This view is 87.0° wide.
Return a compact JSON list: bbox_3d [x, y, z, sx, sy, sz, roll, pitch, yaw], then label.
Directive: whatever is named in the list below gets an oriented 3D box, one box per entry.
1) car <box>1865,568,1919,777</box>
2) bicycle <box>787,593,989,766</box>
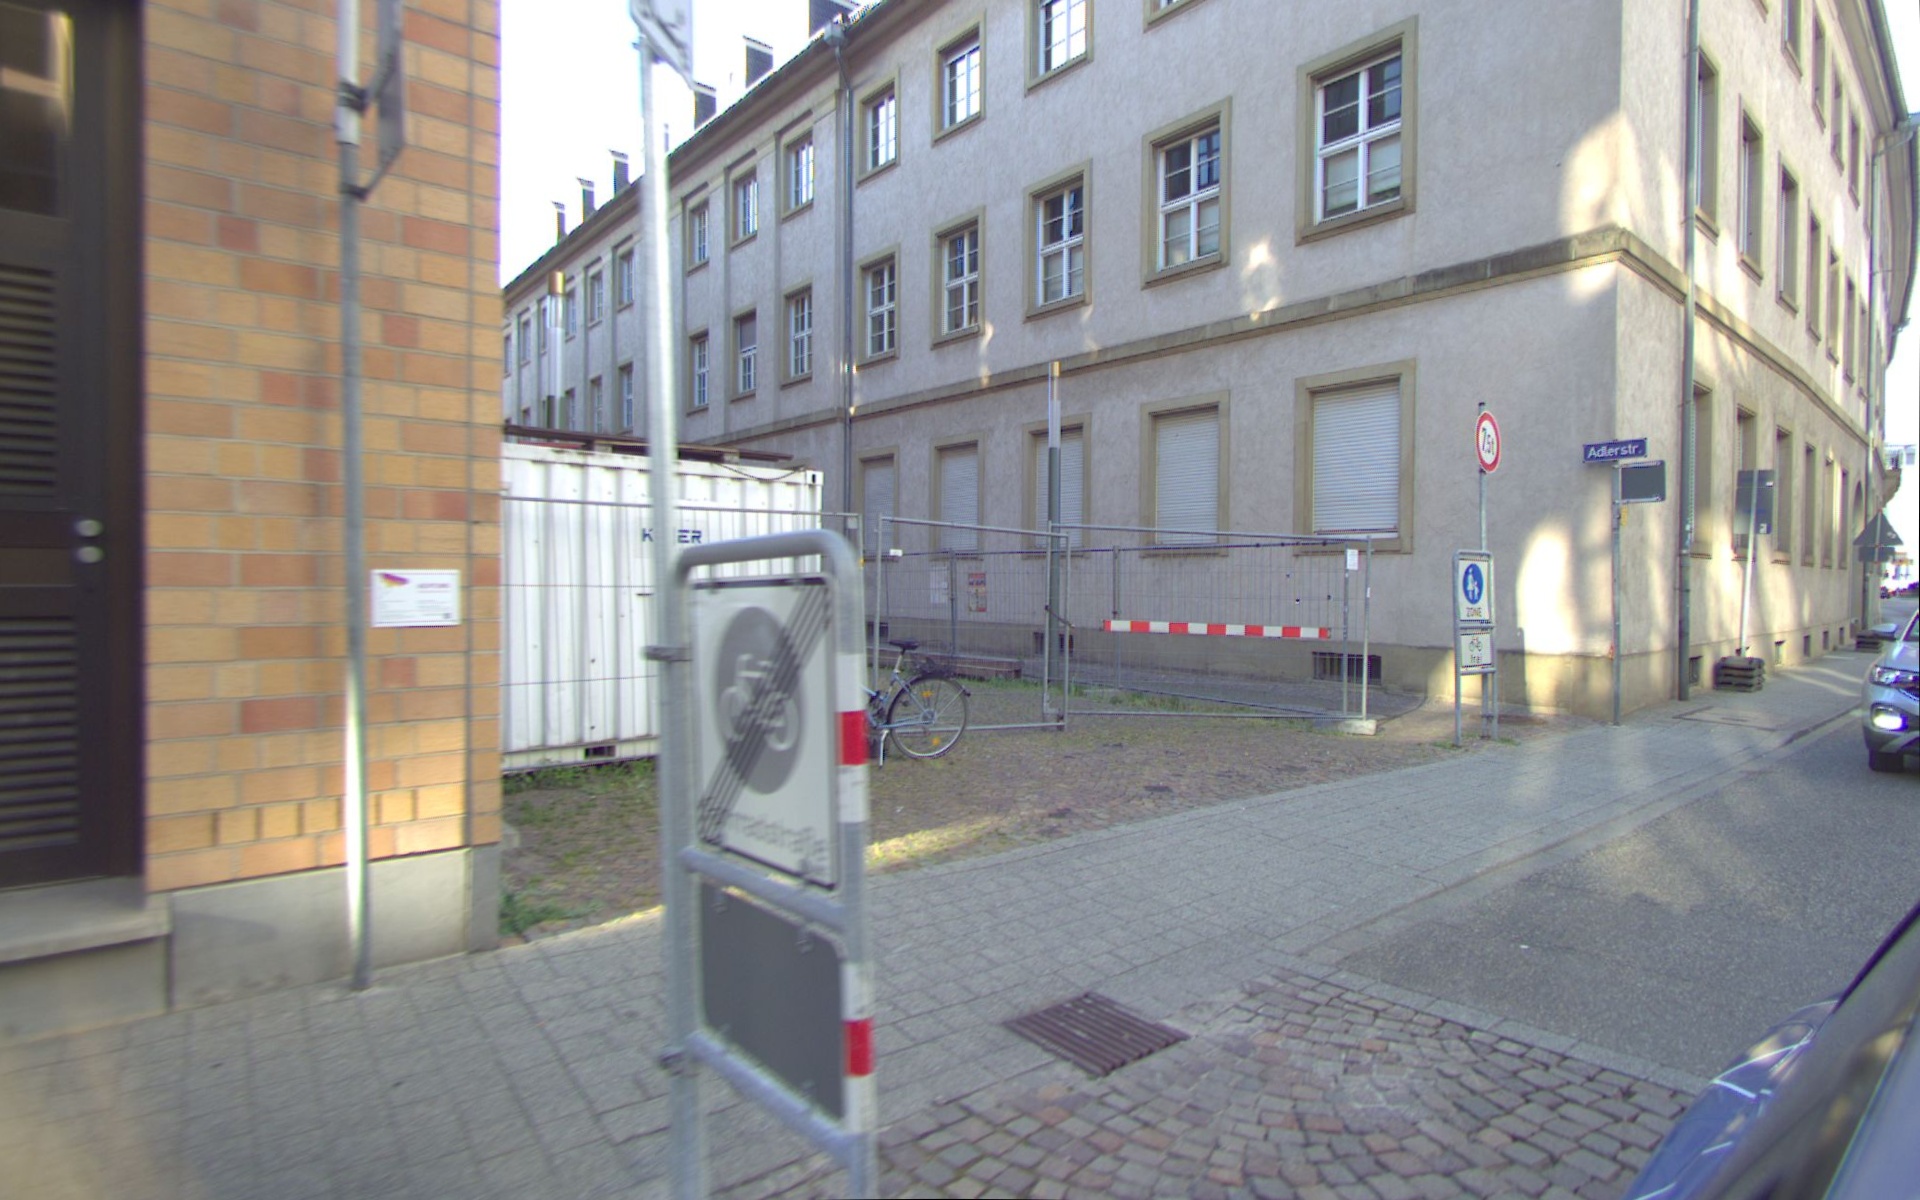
[{"bbox_3d":[9.066,0.517,8.423,3.930,1.565,1.762,-2,2,-40],"label":"car"},{"bbox_3d":[-0.553,0.584,7.914,1.549,1.265,0.321,0,1,-22],"label":"bicycle"}]
